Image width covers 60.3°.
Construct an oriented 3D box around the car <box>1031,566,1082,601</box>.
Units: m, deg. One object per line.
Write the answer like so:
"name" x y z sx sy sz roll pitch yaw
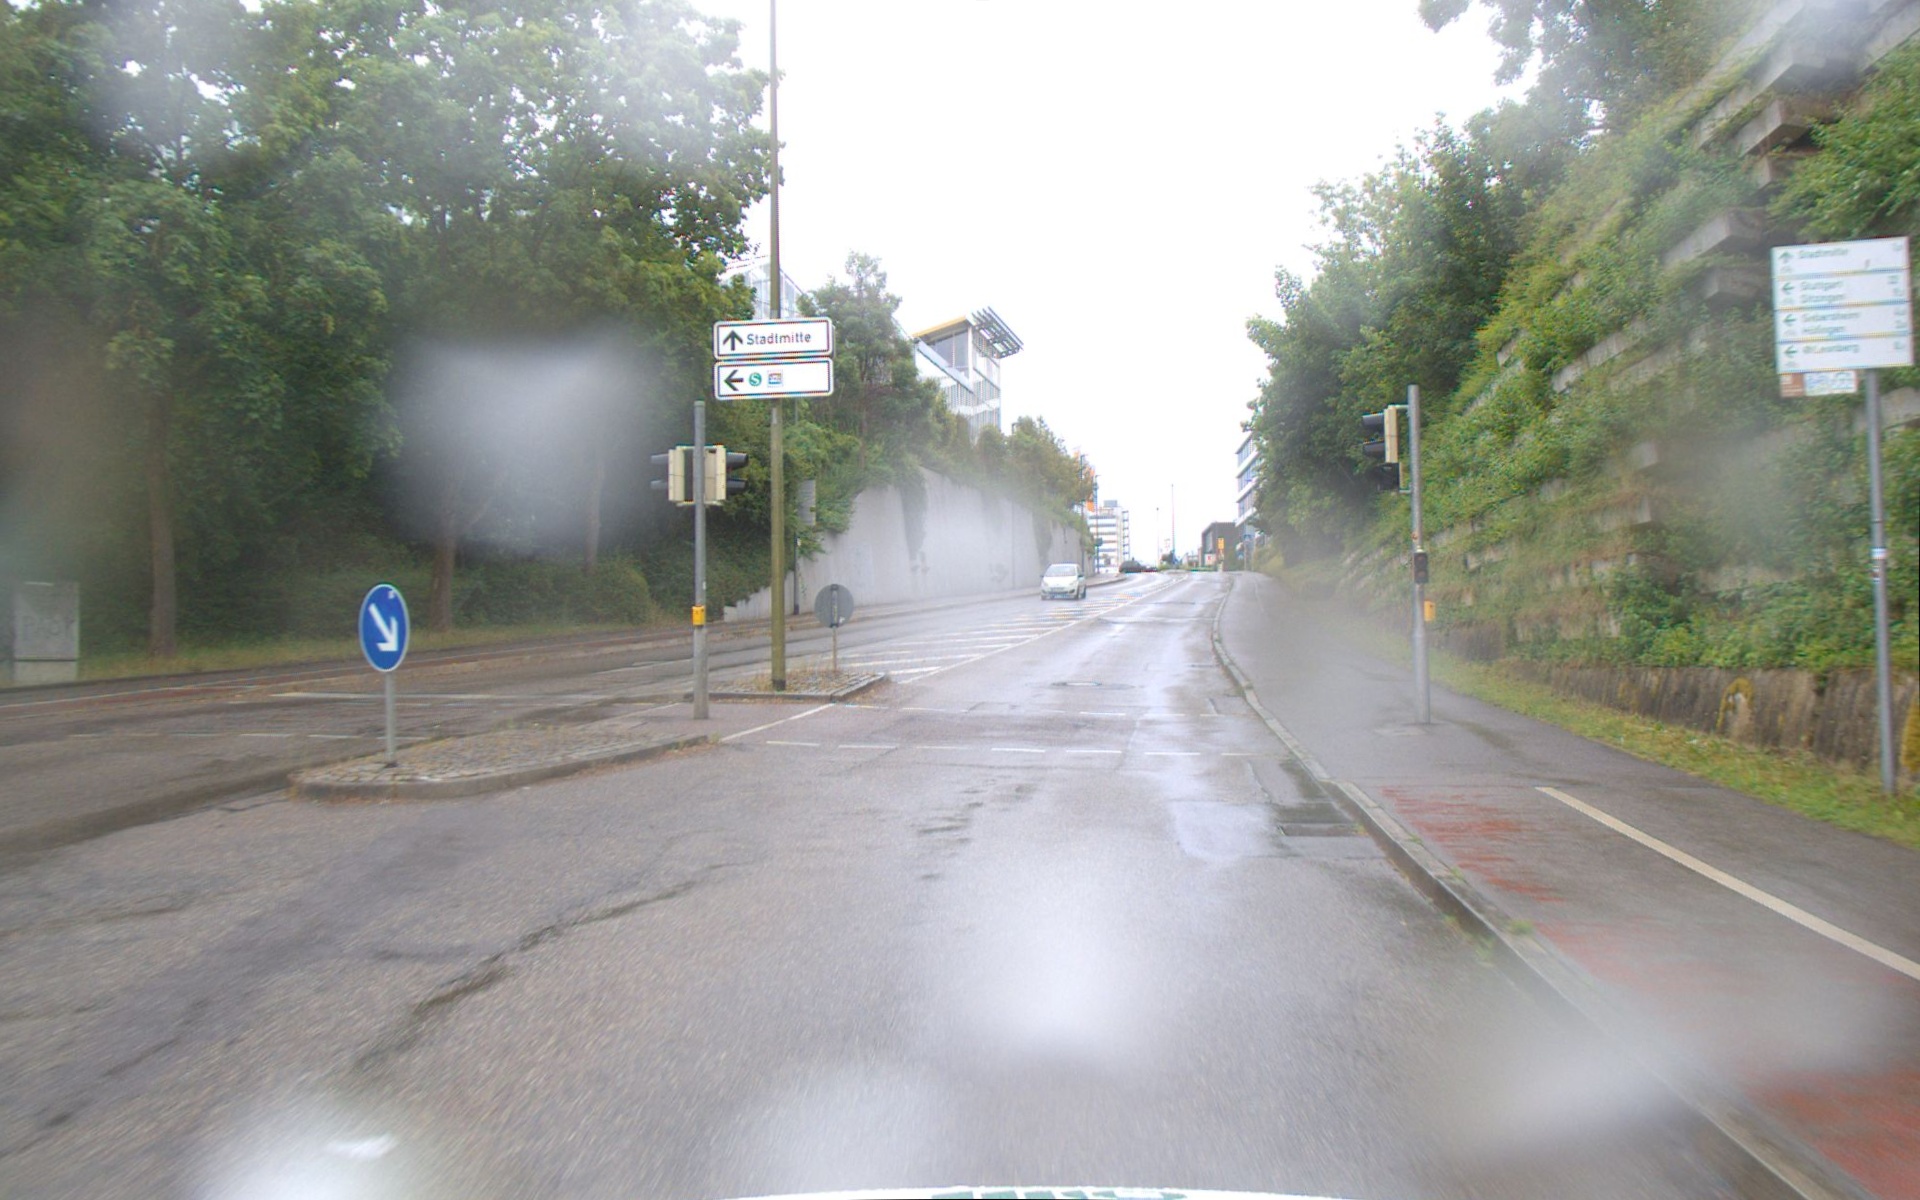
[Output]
"car" 4.135 -0.689 71.171 1.484 1.474 3.810 0 0 -8
